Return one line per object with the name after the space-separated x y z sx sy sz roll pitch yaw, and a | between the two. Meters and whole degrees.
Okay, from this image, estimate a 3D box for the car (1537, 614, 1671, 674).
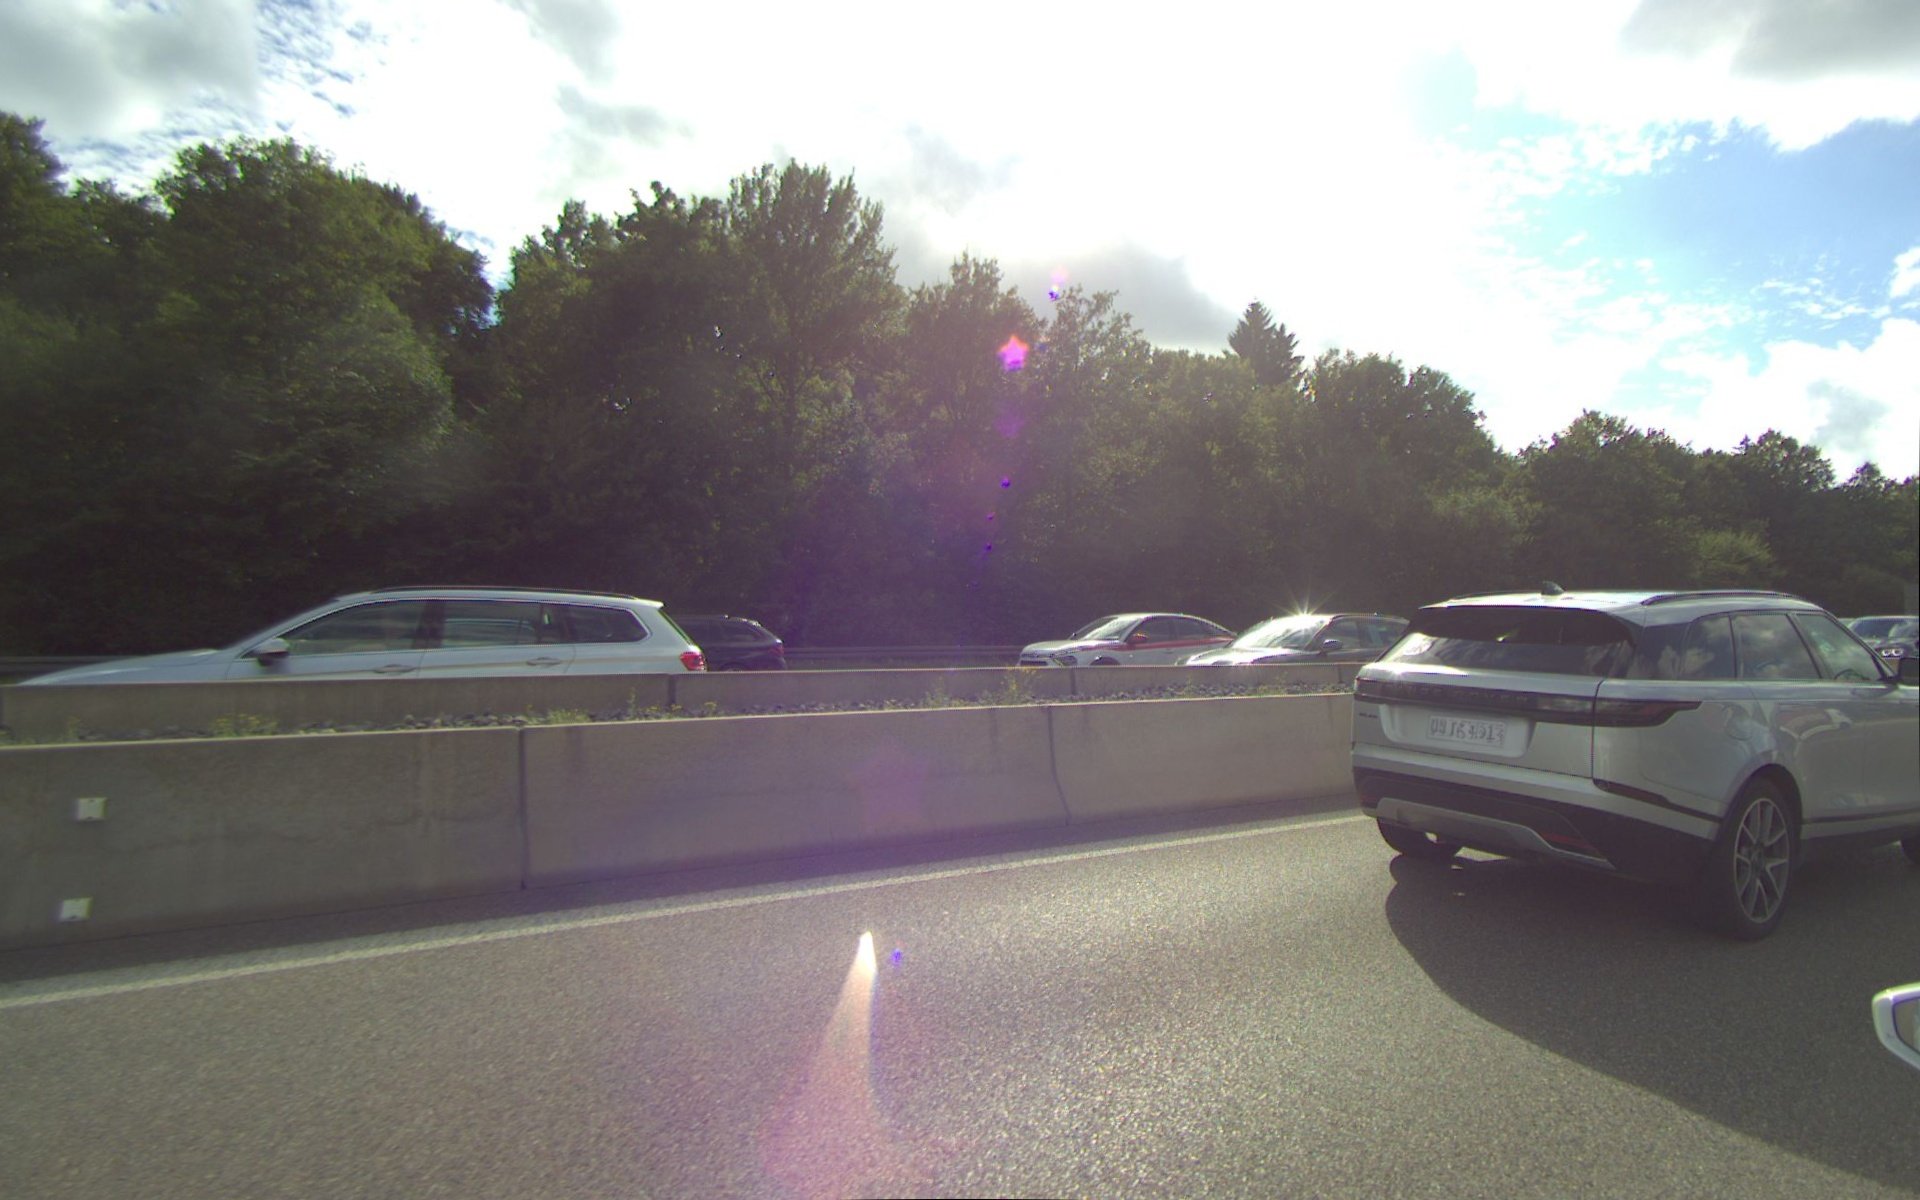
20.828 1.403 32.448 4.497 1.823 1.838 1 -2 -30 | car

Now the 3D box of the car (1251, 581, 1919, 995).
4.417 0.777 6.164 5.239 1.638 1.996 1 0 -30 | car

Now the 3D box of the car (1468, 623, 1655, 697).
14.517 1.390 24.204 4.497 1.639 1.984 1 -2 -30 | car

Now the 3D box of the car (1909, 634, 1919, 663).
46.927 2.296 47.464 4.497 1.319 1.856 1 -2 -30 | car

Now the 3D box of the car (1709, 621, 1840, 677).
25.129 1.484 30.962 4.497 1.639 1.660 1 -2 -30 | car

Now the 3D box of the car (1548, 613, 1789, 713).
13.148 1.103 18.599 4.497 1.639 1.984 1 -2 -30 | car

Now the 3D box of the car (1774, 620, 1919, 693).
22.272 1.330 24.633 4.497 1.639 2.161 1 -2 -30 | car

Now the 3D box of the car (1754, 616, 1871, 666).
34.170 1.620 40.236 5.279 1.876 1.941 1 -2 -30 | car

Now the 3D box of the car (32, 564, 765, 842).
-3.965 0.669 7.847 4.497 1.639 1.734 1 -2 -30 | car

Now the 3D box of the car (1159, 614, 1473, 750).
4.965 1.042 13.949 4.081 1.639 1.971 1 -2 -30 | car

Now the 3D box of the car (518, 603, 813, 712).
-4.968 0.924 17.089 4.497 1.639 1.984 1 -2 -30 | car

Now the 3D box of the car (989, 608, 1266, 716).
2.917 1.003 17.268 4.497 1.639 1.984 1 -2 -30 | car
